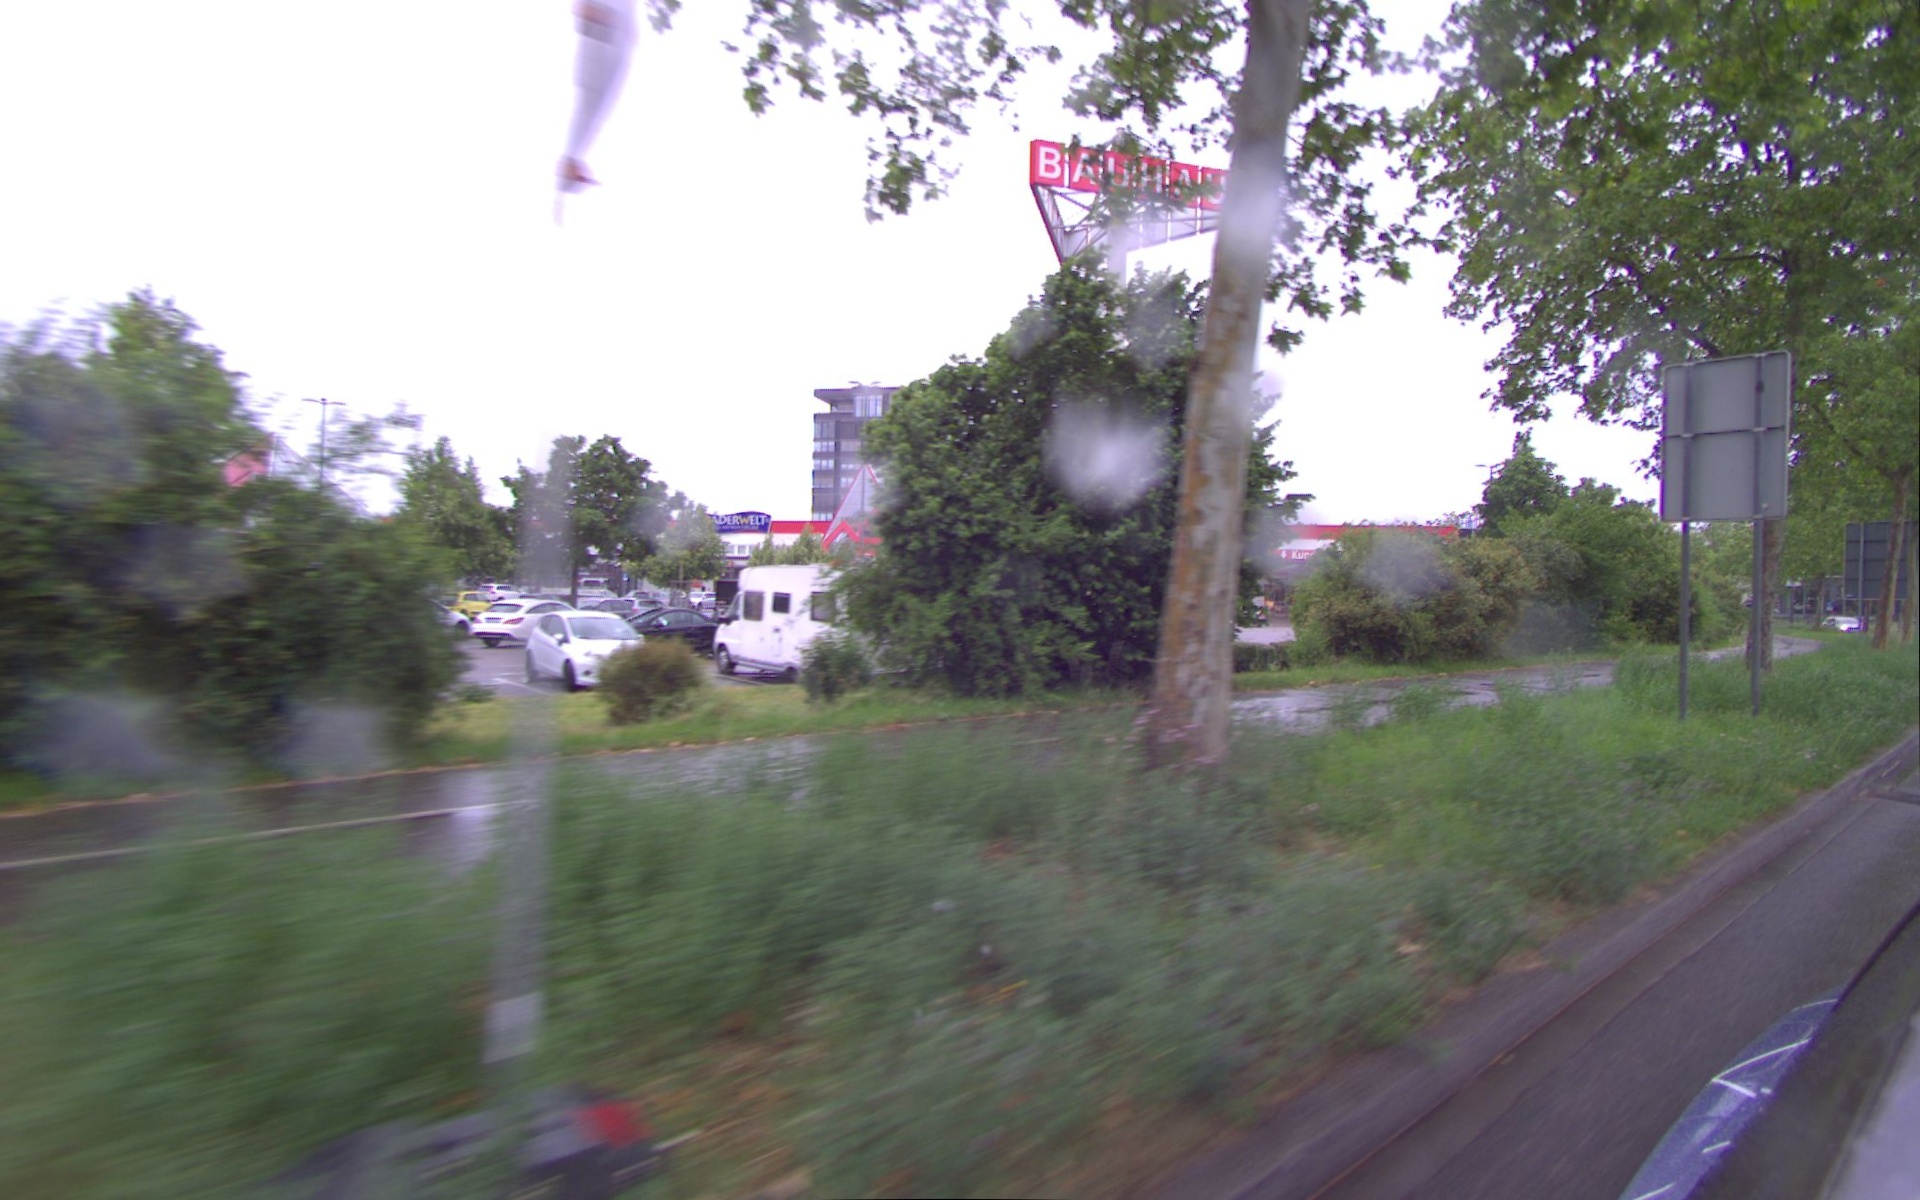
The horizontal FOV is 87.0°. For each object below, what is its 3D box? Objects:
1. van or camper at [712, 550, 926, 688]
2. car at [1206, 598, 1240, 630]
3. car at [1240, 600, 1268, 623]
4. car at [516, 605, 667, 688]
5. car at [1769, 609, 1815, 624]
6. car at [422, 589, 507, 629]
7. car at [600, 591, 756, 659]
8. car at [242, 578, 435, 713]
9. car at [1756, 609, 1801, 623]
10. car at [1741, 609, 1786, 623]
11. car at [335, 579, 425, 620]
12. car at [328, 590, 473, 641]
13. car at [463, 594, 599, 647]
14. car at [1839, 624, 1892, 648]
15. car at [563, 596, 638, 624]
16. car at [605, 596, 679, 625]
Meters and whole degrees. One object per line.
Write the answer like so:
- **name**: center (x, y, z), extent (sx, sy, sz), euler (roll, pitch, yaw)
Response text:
- **van or camper**: center (-3.244, 0.380, 22.110), extent (1.964, 2.621, 5.736), euler (1, -1, -39)
- **car**: center (16.471, 0.852, 63.460), extent (1.797, 1.894, 4.497), euler (1, 0, 12)
- **car**: center (21.952, 0.846, 75.446), extent (1.733, 1.654, 3.821), euler (1, 0, 20)
- **car**: center (-7.562, 0.860, 20.530), extent (1.842, 1.475, 3.999), euler (1, 0, -36)
- **car**: center (98.133, 1.916, 119.400), extent (3.923, 1.681, 1.865), euler (-1, 0, -1)
- **car**: center (-25.979, 0.450, 53.161), extent (1.871, 2.039, 3.981), euler (0, 0, 15)
- **car**: center (-7.617, 0.628, 27.366), extent (3.778, 1.724, 1.618), euler (-1, 0, -30)
- **car**: center (-9.621, 0.602, 15.529), extent (1.849, 1.776, 3.993), euler (1, 0, -41)
- **car**: center (98.158, 1.916, 121.369), extent (3.923, 1.681, 1.865), euler (-1, 0, -1)
- **car**: center (98.040, 1.918, 123.511), extent (3.923, 1.681, 1.865), euler (-1, 0, -1)
- **car**: center (-30.397, -0.028, 53.163), extent (1.871, 2.039, 3.981), euler (0, 0, 15)
- **car**: center (-17.776, 0.467, 32.368), extent (1.759, 1.498, 4.056), euler (0, 0, 15)
- **car**: center (-13.098, 0.597, 31.186), extent (1.759, 1.498, 4.056), euler (0, 0, 15)
- **car**: center (67.570, 2.659, 75.560), extent (1.981, 1.672, 3.962), euler (0, 0, 27)
- **car**: center (-17.807, 0.481, 50.350), extent (1.543, 1.373, 3.854), euler (0, 0, 17)
- **car**: center (-15.534, 0.499, 49.619), extent (1.543, 1.373, 3.854), euler (0, 0, 17)
